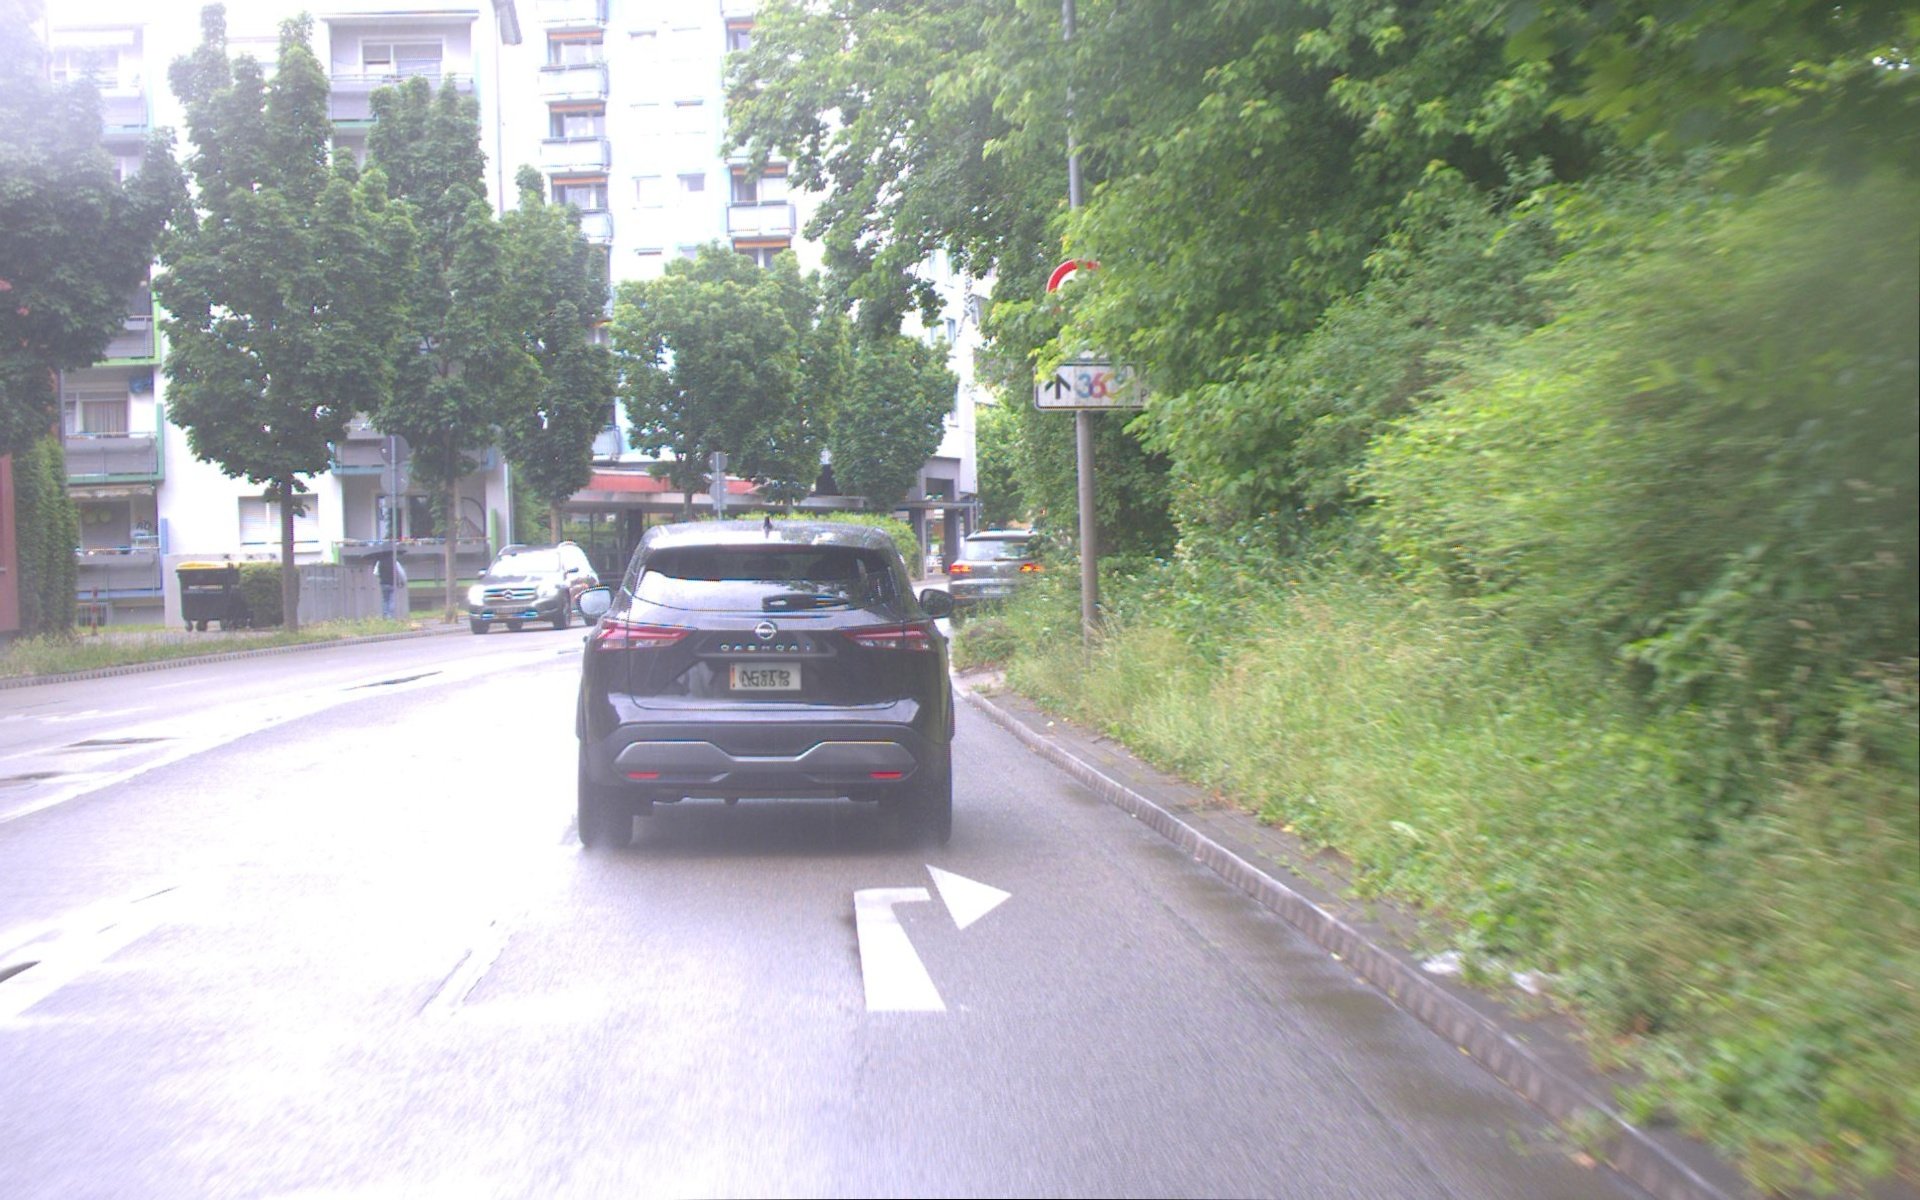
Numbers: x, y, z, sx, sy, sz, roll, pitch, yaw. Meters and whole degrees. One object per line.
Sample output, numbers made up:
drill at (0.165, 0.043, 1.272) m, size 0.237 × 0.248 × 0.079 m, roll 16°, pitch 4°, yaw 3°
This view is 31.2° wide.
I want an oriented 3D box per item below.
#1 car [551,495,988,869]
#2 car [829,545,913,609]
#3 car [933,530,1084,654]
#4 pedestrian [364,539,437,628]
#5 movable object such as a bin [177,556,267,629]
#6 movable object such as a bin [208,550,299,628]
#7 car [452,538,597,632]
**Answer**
car at (-1.098, 0.342, 17.892) m, size 1.959 × 1.647 × 4.001 m, roll -2°, pitch 1°, yaw -6°
car at (-2.323, -0.627, 90.248) m, size 1.676 × 1.557 × 4.141 m, roll 2°, pitch 2°, yaw 5°
car at (0.878, -0.176, 59.557) m, size 1.994 × 2.007 × 3.999 m, roll -2°, pitch 1°, yaw 9°
pedestrian at (-11.621, -0.350, 71.427) m, size 1.134 × 1.797 × 1.263 m, roll -2°, pitch 1°, yaw 7°
movable object such as a bin at (-14.290, -0.156, 66.632) m, size 1.157 × 1.327 × 1.966 m, roll -2°, pitch 1°, yaw 4°
movable object such as a bin at (-14.134, -0.231, 68.804) m, size 1.215 × 1.479 × 2.087 m, roll -2°, pitch 1°, yaw 4°
car at (-8.403, -0.315, 66.682) m, size 1.922 × 1.625 × 4.501 m, roll -3°, pitch 1°, yaw 3°
